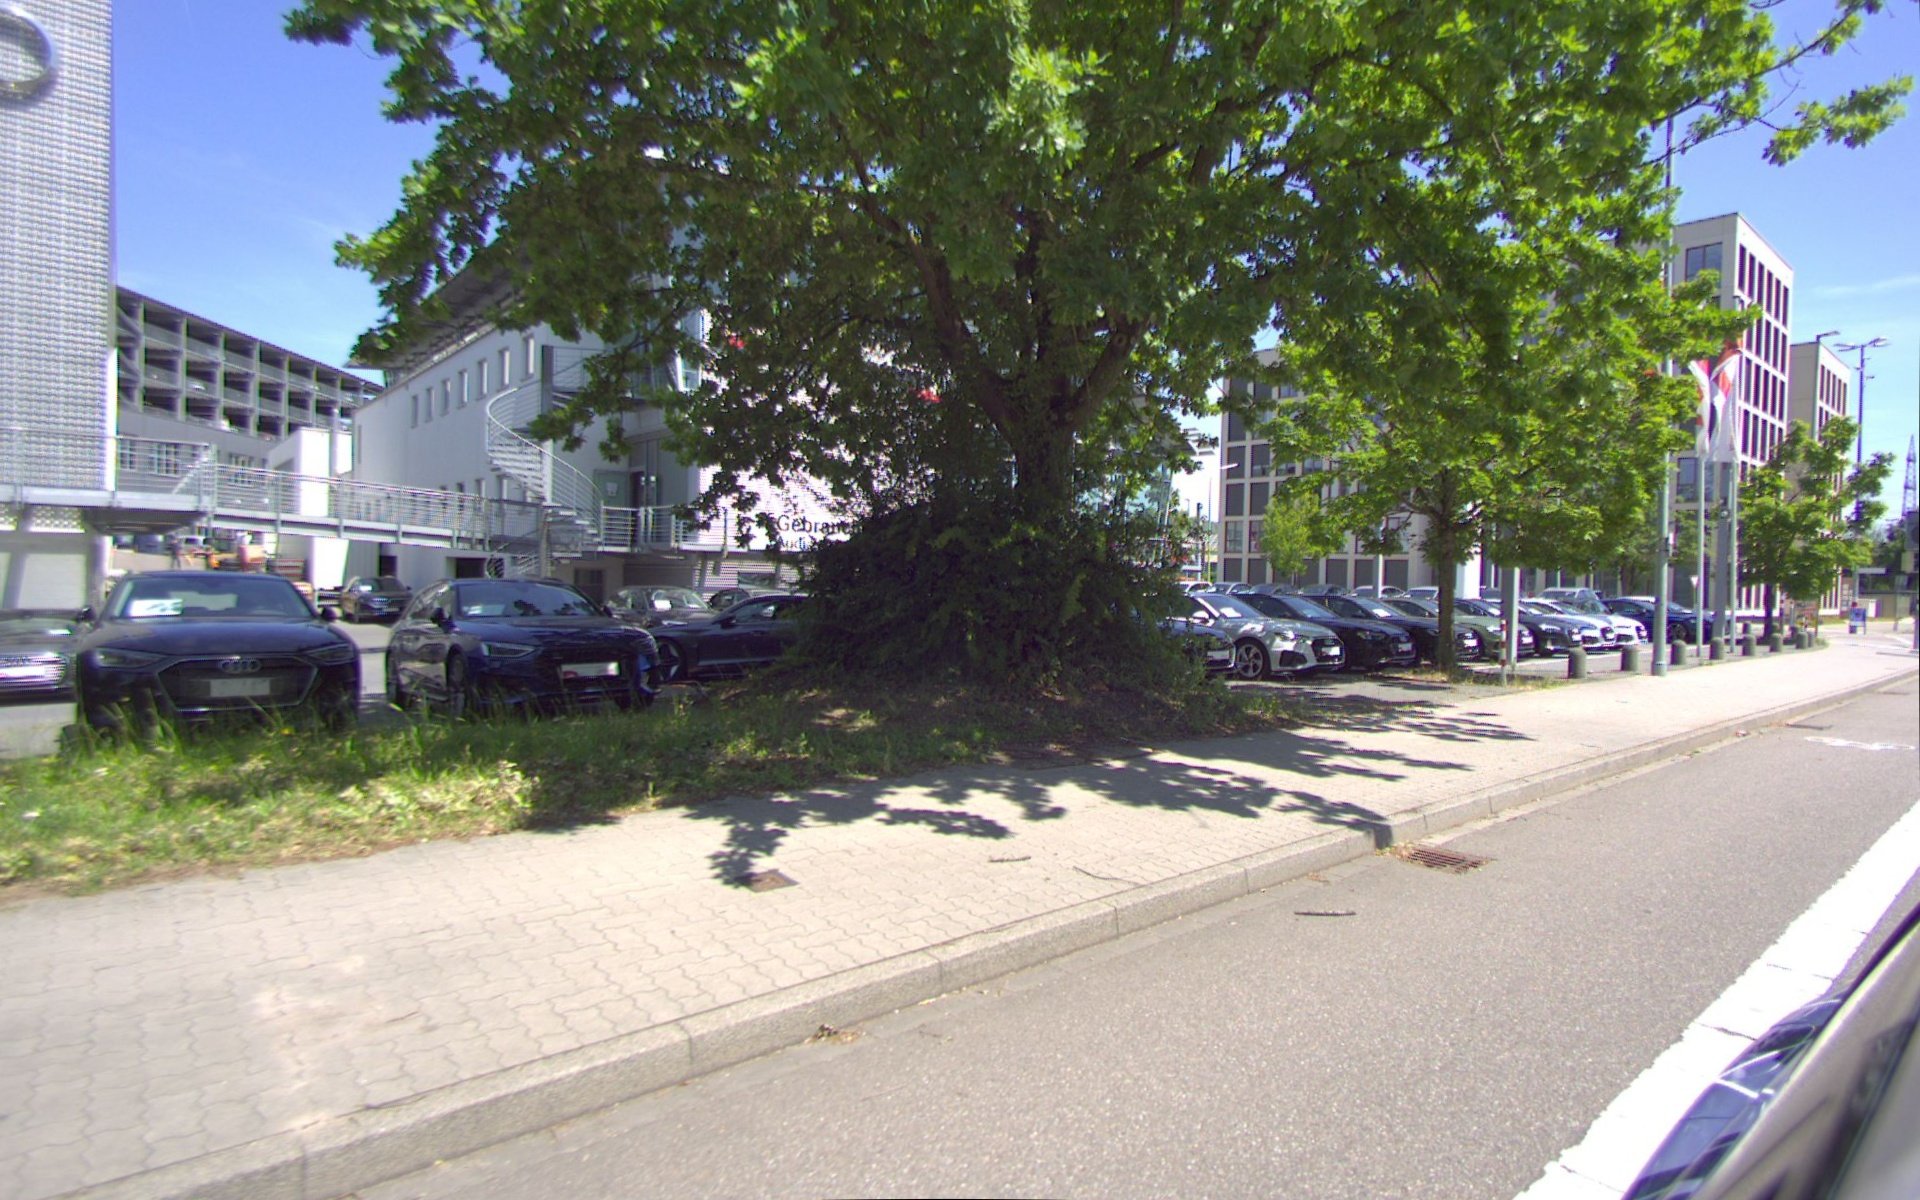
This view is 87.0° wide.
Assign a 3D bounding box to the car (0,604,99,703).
[{"bbox_3d":[-14.619,0.818,15.863,1.665,1.359,4.074,-1,-1,-40],"label":"car"}]

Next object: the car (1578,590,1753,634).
[{"bbox_3d":[24.114,0.397,34.727,1.836,1.408,4.600,0,0,-40],"label":"car"}]

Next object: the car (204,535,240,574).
[{"bbox_3d":[-42.109,-2.547,57.709,1.543,2.039,3.670,0,0,-38],"label":"car"}]

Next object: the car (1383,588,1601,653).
[{"bbox_3d":[12.630,0.460,24.237,1.836,1.408,4.233,0,0,-40],"label":"car"}]

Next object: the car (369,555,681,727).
[{"bbox_3d":[-4.729,0.402,10.602,1.801,1.411,4.456,0,-2,-40],"label":"car"}]

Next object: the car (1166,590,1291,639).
[{"bbox_3d":[9.514,0.496,36.086,1.818,1.619,3.992,0,-1,-40],"label":"car"}]

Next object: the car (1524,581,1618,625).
[{"bbox_3d":[24.494,0.062,40.528,4.424,1.577,1.873,-2,3,-40],"label":"car"}]

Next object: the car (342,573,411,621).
[{"bbox_3d":[-22.227,-0.099,38.476,1.612,1.740,3.905,0,-1,-40],"label":"car"}]

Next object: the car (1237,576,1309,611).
[{"bbox_3d":[15.703,-0.313,50.671,1.845,1.675,3.934,-1,-1,45],"label":"car"}]

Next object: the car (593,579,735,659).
[{"bbox_3d":[-6.629,0.394,22.446,1.612,1.604,3.905,0,-1,-40],"label":"car"}]

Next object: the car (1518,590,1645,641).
[{"bbox_3d":[18.956,0.436,30.801,4.578,1.438,1.867,0,-1,-39],"label":"car"}]

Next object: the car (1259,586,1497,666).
[{"bbox_3d":[8.392,0.485,20.594,1.836,1.472,4.108,0,0,-40],"label":"car"}]

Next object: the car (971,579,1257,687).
[{"bbox_3d":[2.214,0.450,15.555,1.784,1.419,4.239,1,-1,-40],"label":"car"}]

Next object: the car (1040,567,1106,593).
[{"bbox_3d":[7.826,-1.405,70.232,1.878,1.715,4.587,1,2,-37],"label":"car"}]

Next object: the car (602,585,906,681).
[{"bbox_3d":[-3.131,0.513,15.962,4.381,1.332,1.850,-1,-2,2],"label":"car"}]

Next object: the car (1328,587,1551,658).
[{"bbox_3d":[10.560,0.460,22.536,1.836,1.422,4.108,0,0,-40],"label":"car"}]

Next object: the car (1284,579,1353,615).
[{"bbox_3d":[17.307,-0.147,48.738,1.629,1.675,3.848,1,1,45],"label":"car"}]

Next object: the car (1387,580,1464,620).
[{"bbox_3d":[20.573,0.002,44.672,1.845,1.675,3.934,-1,-1,45],"label":"car"}]

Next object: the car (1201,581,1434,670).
[{"bbox_3d":[6.536,0.434,18.771,1.801,1.472,3.688,0,-1,-40],"label":"car"}]

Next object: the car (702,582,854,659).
[{"bbox_3d":[-4.389,0.451,23.983,1.818,1.675,3.992,0,-1,-40],"label":"car"}]

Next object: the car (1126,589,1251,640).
[{"bbox_3d":[7.719,0.488,34.507,1.627,1.642,3.992,0,-1,-40],"label":"car"}]

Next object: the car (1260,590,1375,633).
[{"bbox_3d":[13.488,0.401,38.094,4.629,1.535,1.879,0,-1,-38],"label":"car"}]

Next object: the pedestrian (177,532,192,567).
[{"bbox_3d":[-46.332,-2.997,60.440,0.683,2.039,0.771,1,-1,-39],"label":"pedestrian"}]

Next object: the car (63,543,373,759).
[{"bbox_3d":[-6.626,0.399,8.930,1.793,1.425,4.332,0,-2,-40],"label":"car"}]

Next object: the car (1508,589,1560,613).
[{"bbox_3d":[37.844,0.027,66.857,1.672,1.450,3.990,1,2,10],"label":"car"}]

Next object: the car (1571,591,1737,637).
[{"bbox_3d":[22.493,0.433,32.912,1.836,1.408,4.103,0,0,-40],"label":"car"}]

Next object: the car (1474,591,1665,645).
[{"bbox_3d":[16.618,0.470,27.739,1.841,1.382,4.103,0,0,-40],"label":"car"}]

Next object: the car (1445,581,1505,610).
[{"bbox_3d":[35.376,-0.343,69.604,1.886,1.910,4.926,2,1,5],"label":"car"}]

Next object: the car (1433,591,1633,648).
[{"bbox_3d":[14.675,0.472,26.083,1.836,1.366,4.106,0,0,-40],"label":"car"}]

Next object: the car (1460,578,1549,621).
[{"bbox_3d":[22.898,-0.026,42.547,3.926,1.675,1.849,-2,0,-38],"label":"car"}]

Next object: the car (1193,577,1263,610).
[{"bbox_3d":[14.111,-0.312,53.111,1.845,1.675,3.934,-1,-1,45],"label":"car"}]

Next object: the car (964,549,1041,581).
[{"bbox_3d":[2.721,-2.280,65.843,1.881,1.991,5.243,1,2,-42],"label":"car"}]

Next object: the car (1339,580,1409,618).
[{"bbox_3d":[19.025,-0.033,46.391,1.637,1.637,3.755,1,0,45],"label":"car"}]

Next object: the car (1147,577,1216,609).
[{"bbox_3d":[12.040,-0.348,54.975,1.845,1.675,3.934,-1,-1,45],"label":"car"}]

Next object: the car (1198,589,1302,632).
[{"bbox_3d":[11.673,0.393,40.600,4.229,1.648,1.879,0,-1,-38],"label":"car"}]

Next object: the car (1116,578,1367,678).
[{"bbox_3d":[4.621,0.428,16.979,1.801,1.472,3.688,0,-1,-40],"label":"car"}]
